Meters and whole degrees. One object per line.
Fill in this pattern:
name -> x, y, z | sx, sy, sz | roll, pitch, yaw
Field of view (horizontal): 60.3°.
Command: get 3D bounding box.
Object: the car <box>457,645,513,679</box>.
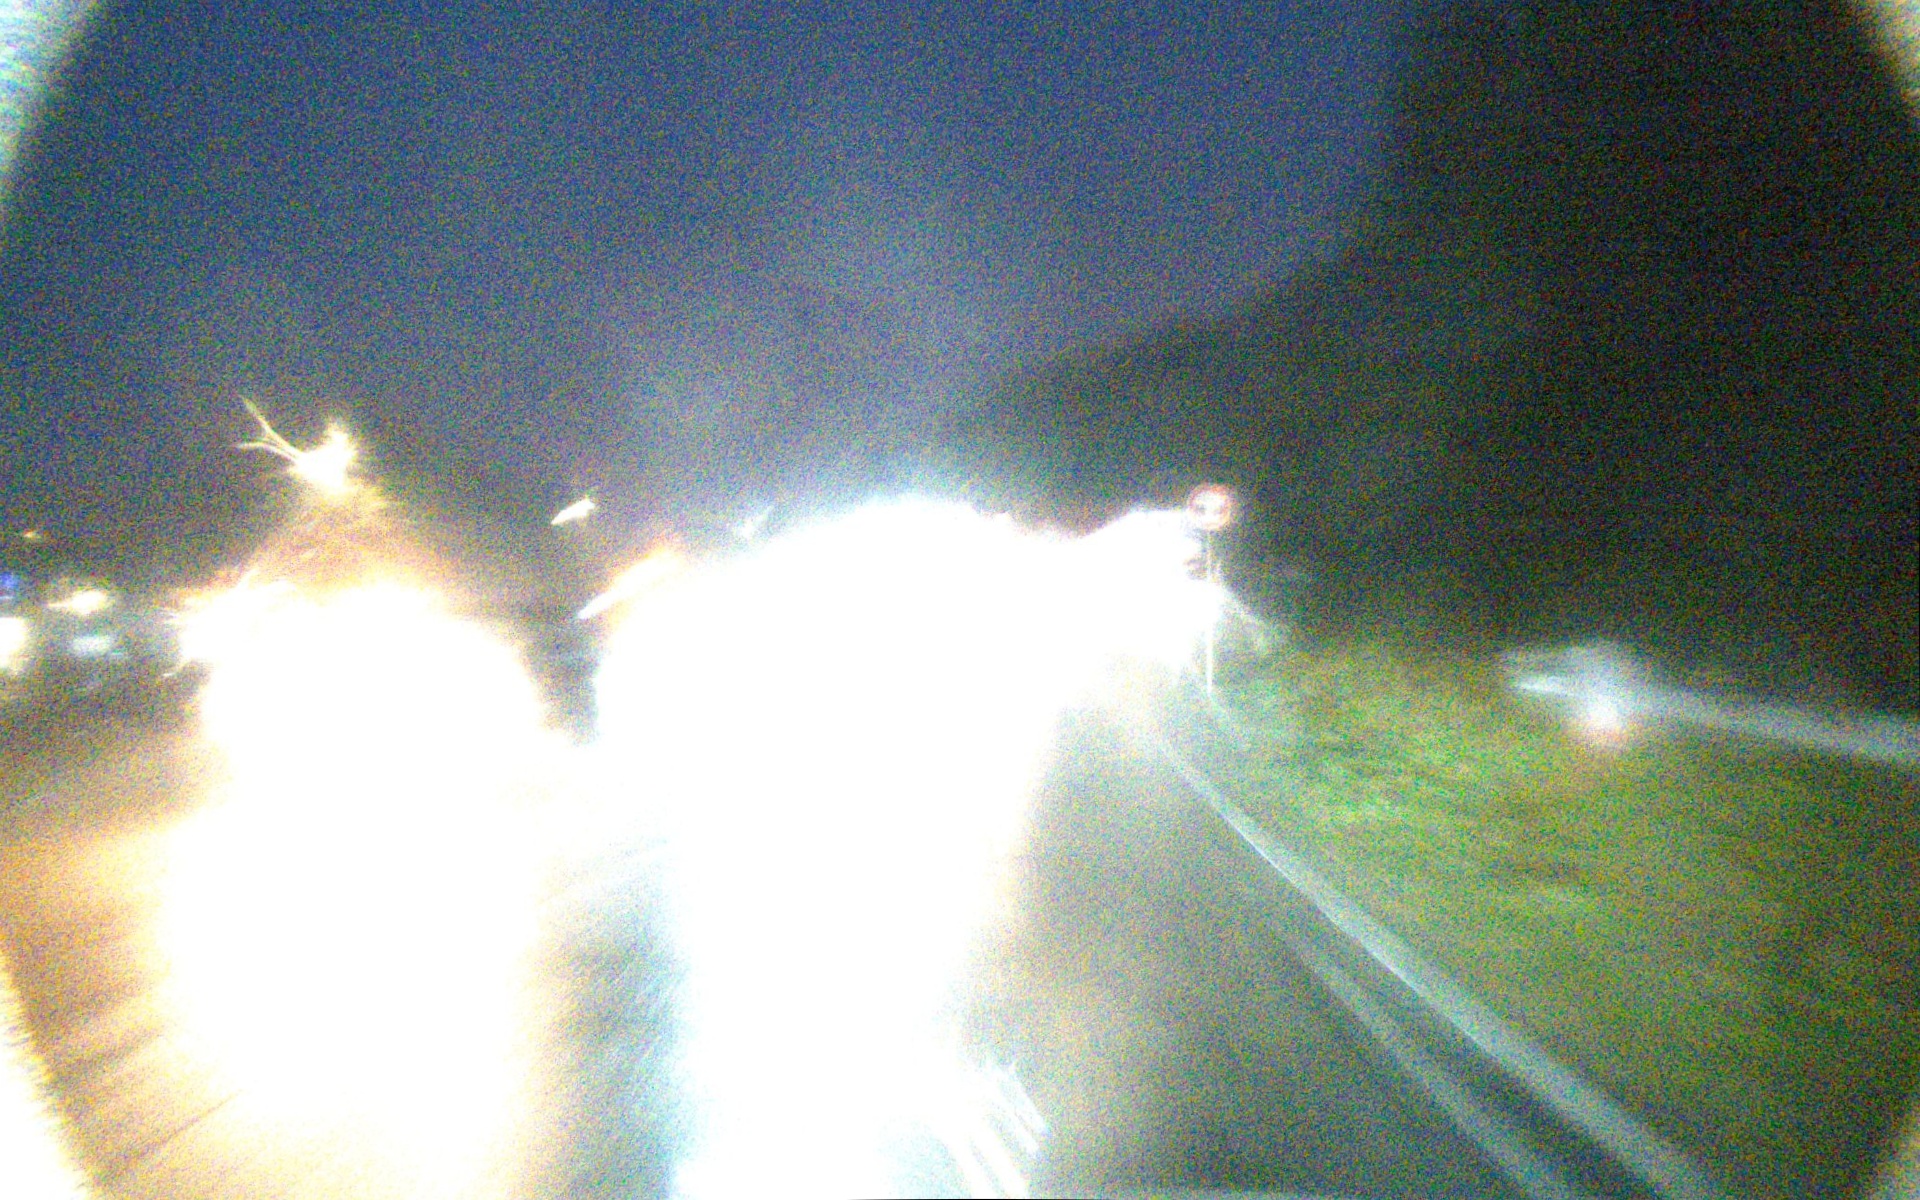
car -> -26.562, 3.469, 92.573 | 1.735, 1.623, 4.001 | -5, -1, 2

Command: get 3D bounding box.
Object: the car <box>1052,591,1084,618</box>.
car -> 5.968, 0.252, 90.830 | 1.557, 1.404, 4.328 | 1, 0, 6

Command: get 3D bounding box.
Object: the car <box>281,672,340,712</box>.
car -> -28.694, 4.062, 73.017 | 1.792, 1.594, 4.165 | -4, -1, -29

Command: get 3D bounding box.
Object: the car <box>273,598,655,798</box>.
car -> -3.873, 0.683, 13.687 | 1.600, 1.378, 4.145 | 0, 0, 5

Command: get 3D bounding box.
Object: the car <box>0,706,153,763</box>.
car -> -25.868, 3.908, 48.009 | 3.904, 1.222, 1.848 | -5, -1, 4

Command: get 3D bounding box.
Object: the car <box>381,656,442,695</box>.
car -> -26.799, 3.664, 80.921 | 1.710, 1.646, 3.513 | -4, -1, 0

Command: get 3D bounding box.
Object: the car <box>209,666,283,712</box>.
car -> -29.123, 3.609, 67.589 | 1.961, 1.594, 4.835 | -4, -1, -14

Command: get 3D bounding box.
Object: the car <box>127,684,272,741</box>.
car -> -25.614, 3.789, 55.792 | 3.904, 1.480, 1.912 | -5, -2, 4

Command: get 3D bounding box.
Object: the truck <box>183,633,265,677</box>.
truck -> -45.017, 3.324, 101.349 | 2.273, 2.506, 6.490 | 1, 0, -2

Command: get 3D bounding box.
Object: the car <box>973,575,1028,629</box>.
car -> 1.674, 0.071, 66.935 | 1.851, 2.037, 4.884 | 2, 0, 5

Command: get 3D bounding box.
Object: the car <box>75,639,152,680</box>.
car -> -50.924, 3.530, 99.590 | 1.951, 2.304, 4.462 | 1, 0, 6
